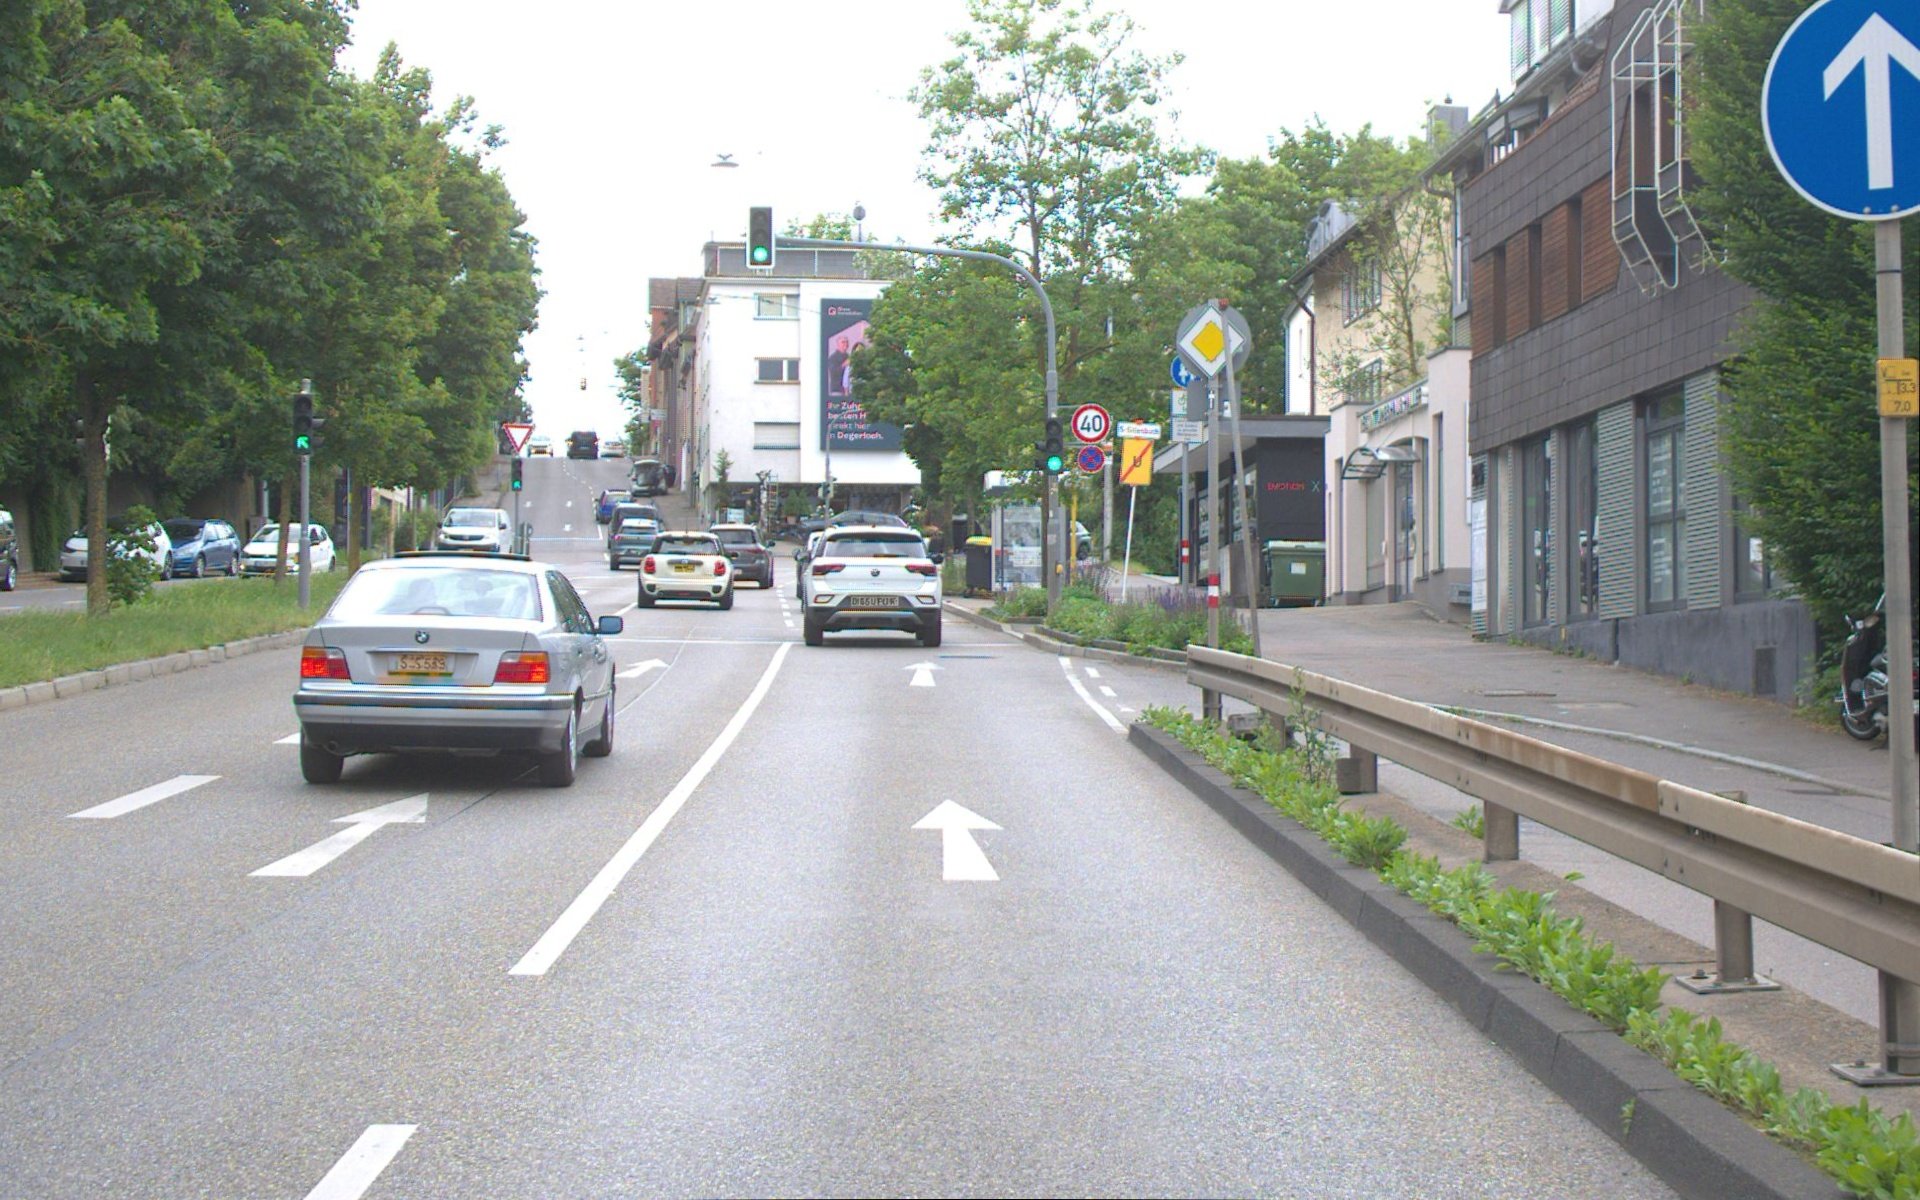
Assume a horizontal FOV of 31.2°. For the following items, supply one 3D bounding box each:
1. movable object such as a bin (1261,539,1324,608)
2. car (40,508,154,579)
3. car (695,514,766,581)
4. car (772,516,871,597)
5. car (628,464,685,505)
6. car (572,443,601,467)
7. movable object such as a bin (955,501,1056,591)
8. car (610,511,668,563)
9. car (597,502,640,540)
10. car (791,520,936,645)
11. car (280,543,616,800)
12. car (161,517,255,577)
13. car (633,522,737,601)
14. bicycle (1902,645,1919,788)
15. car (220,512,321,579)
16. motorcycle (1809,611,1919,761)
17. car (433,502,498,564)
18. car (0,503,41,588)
[{"bbox_3d":[6.948,-0.558,71.889,1.195,1.403,0.711,2,2,-2],"label":"movable object such as a bin"},{"bbox_3d":[-20.700,-1.381,82.608,1.860,1.588,4.280,2,2,-3],"label":"car"},{"bbox_3d":[-5.889,-1.331,88.041,1.722,1.634,3.457,-2,1,-4],"label":"car"},{"bbox_3d":[-2.564,-0.797,63.252,1.722,1.371,3.457,-2,1,-3],"label":"car"},{"bbox_3d":[-15.685,-5.970,177.861,2.510,2.006,5.181,2,2,-1],"label":"car"},{"bbox_3d":[-24.896,-9.668,229.046,1.822,1.503,4.001,2,2,-5],"label":"car"},{"bbox_3d":[0.984,-1.187,74.912,1.891,1.863,1.529,2,2,-10],"label":"movable object such as a bin"},{"bbox_3d":[-10.403,-2.028,111.567,1.722,1.577,3.457,-2,1,-4],"label":"car"},{"bbox_3d":[-15.069,-3.464,151.731,1.722,1.577,3.457,-2,1,-4],"label":"car"},{"bbox_3d":[-1.307,-0.242,45.438,1.797,1.514,3.457,-2,1,-3],"label":"car"},{"bbox_3d":[-3.163,0.375,22.015,1.634,1.378,4.621,1,2,-2],"label":"car"},{"bbox_3d":[-20.849,-1.497,95.473,1.860,1.536,4.280,2,2,-3],"label":"car"},{"bbox_3d":[-5.080,-0.715,63.846,1.722,1.371,3.457,-2,1,-2],"label":"car"},{"bbox_3d":[7.535,0.893,25.204,0.566,1.059,2.006,-3,2,-3],"label":"bicycle"},{"bbox_3d":[-17.148,-1.377,85.643,1.860,1.536,4.280,2,2,-3],"label":"car"},{"bbox_3d":[7.779,0.708,29.195,0.608,1.158,2.041,-1,2,-1],"label":"motorcycle"},{"bbox_3d":[-15.669,-2.143,108.960,1.668,1.859,3.245,-2,2,-2],"label":"car"},{"bbox_3d":[-20.280,-1.153,70.592,1.860,1.664,4.280,2,2,-3],"label":"car"}]
